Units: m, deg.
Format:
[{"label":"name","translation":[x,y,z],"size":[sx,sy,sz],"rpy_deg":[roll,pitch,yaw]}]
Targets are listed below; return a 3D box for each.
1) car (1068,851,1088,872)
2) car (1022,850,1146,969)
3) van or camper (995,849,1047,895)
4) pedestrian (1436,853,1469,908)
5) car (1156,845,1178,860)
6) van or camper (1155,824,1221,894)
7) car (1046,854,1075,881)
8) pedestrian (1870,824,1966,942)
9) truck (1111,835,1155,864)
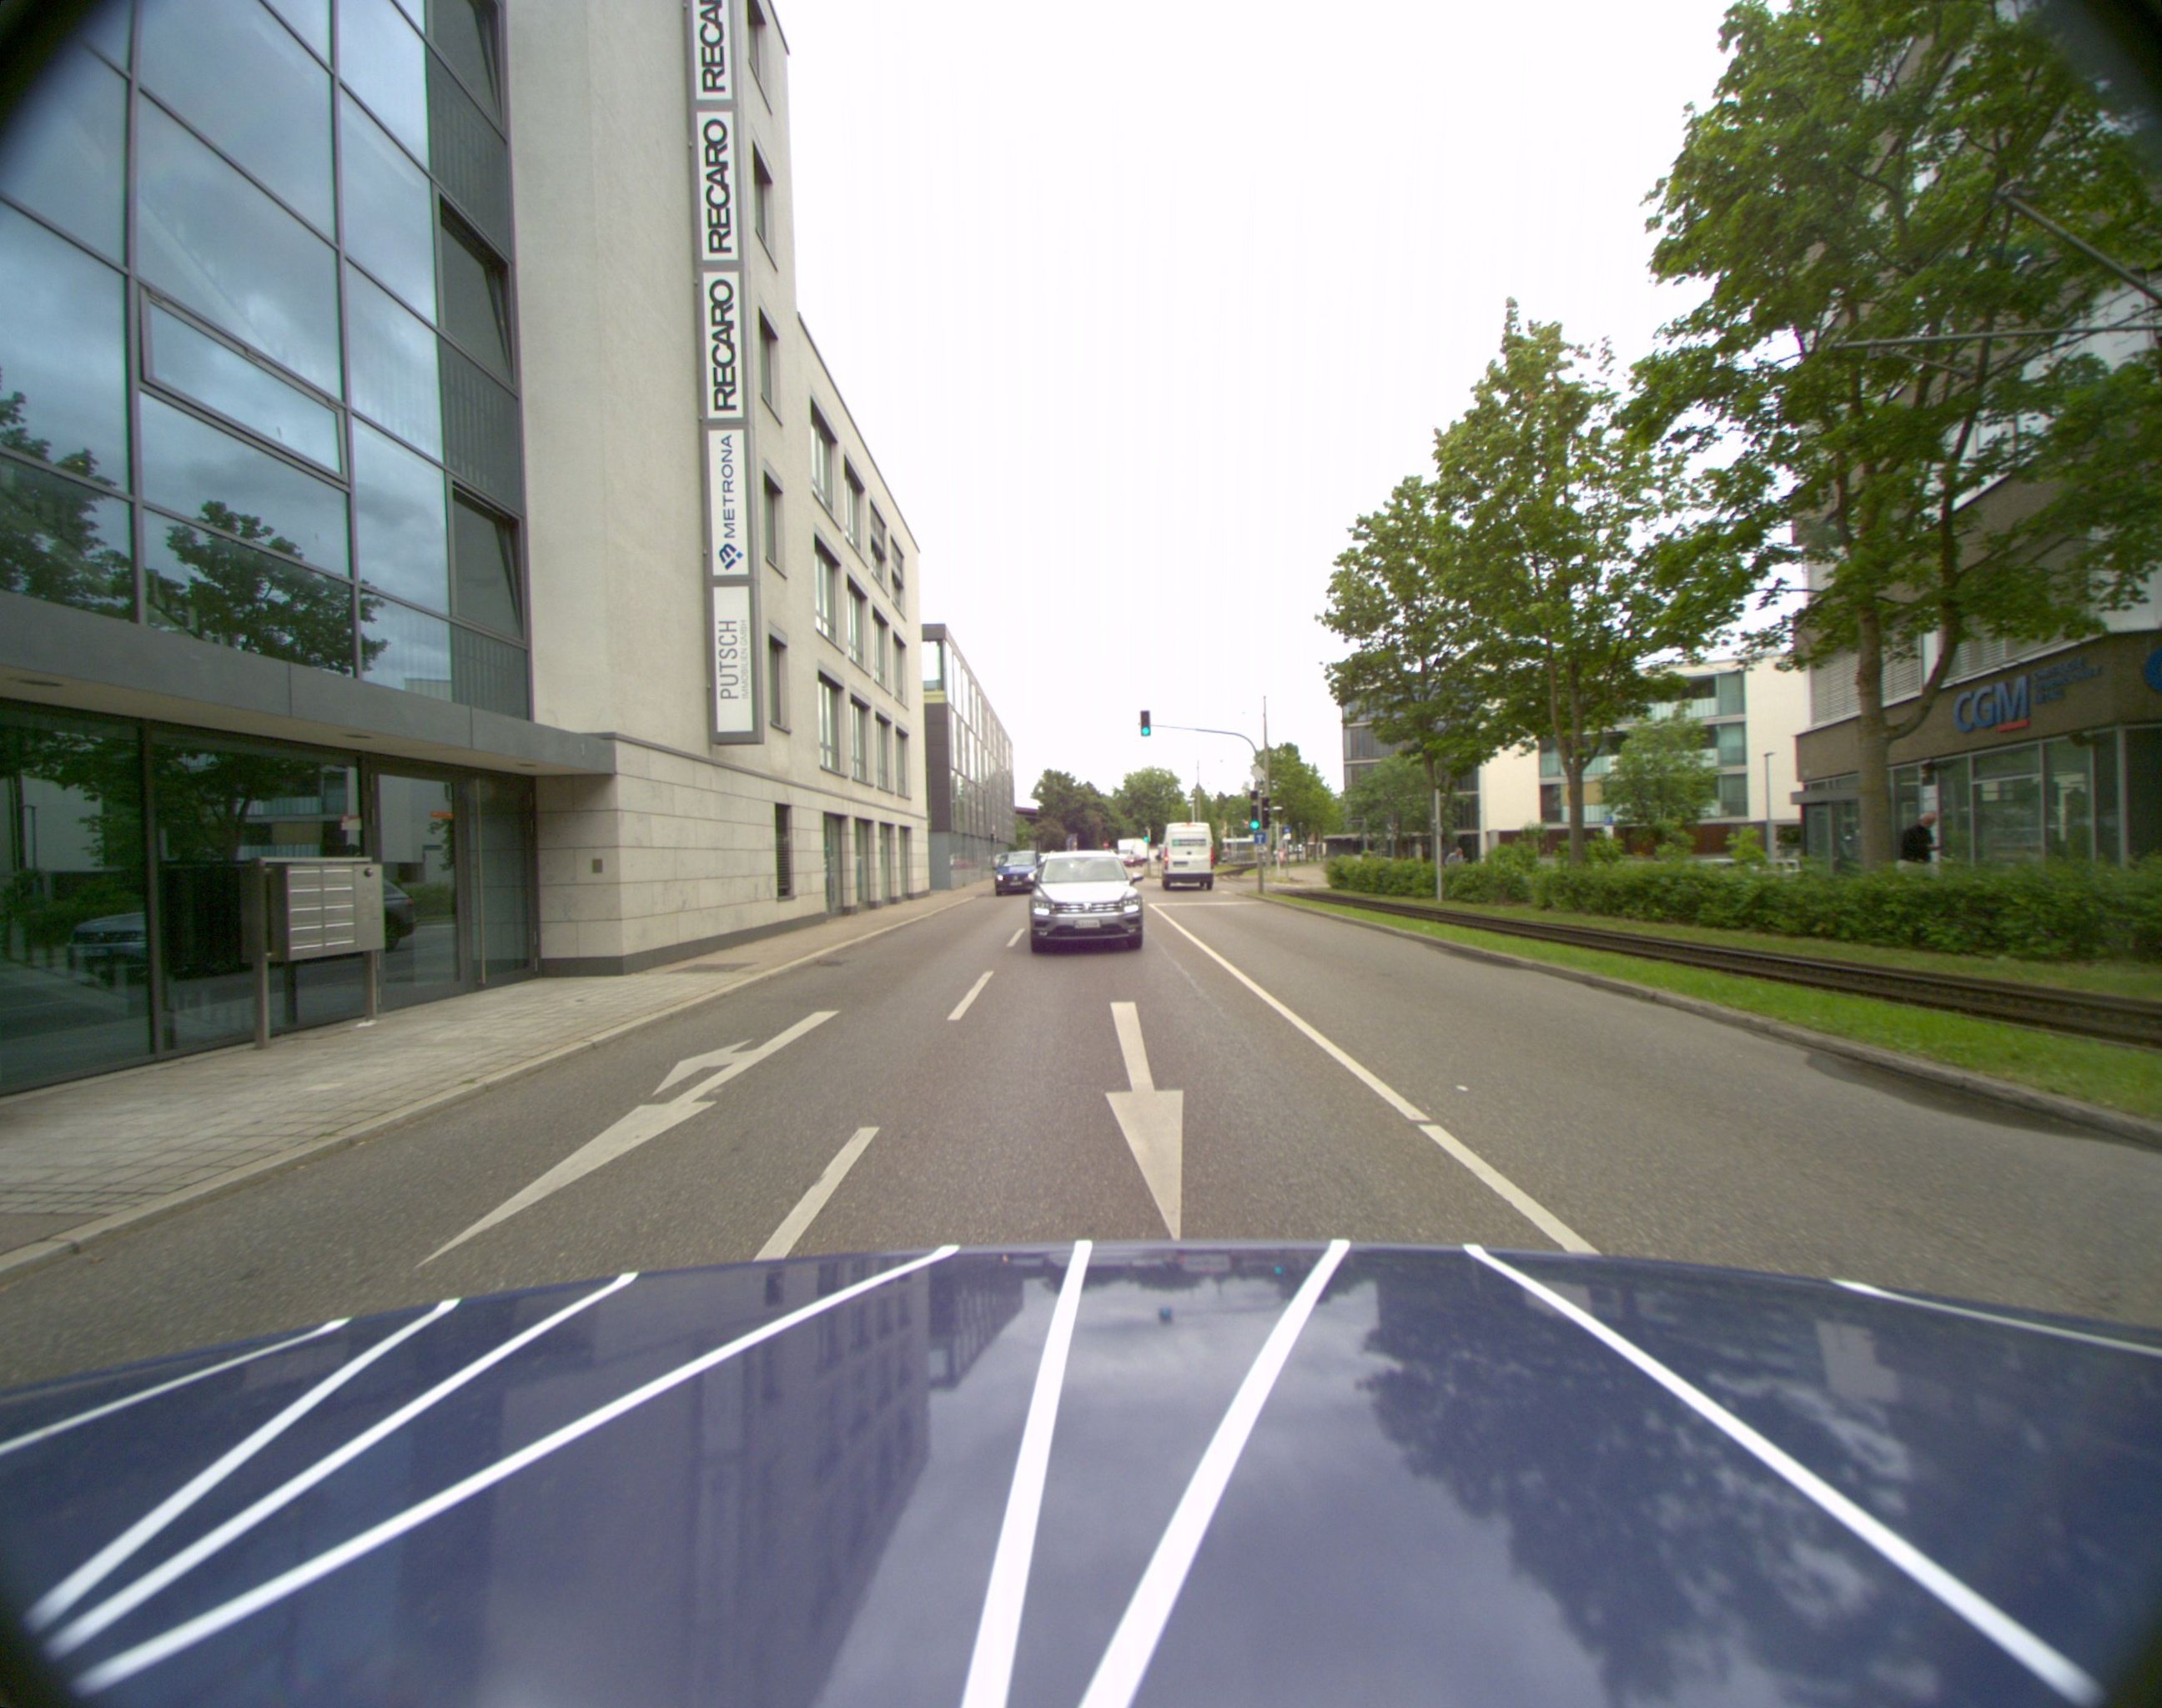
[{"label":"car","translation":[-0.289,0.754,79.438],"size":[1.998,2.002,3.999],"rpy_deg":[-2,1,1]},{"label":"car","translation":[0.056,0.816,13.509],"size":[1.798,1.716,4.458],"rpy_deg":[-2,0,0]},{"label":"van or camper","translation":[-2.630,0.740,34.242],"size":[1.864,1.900,5.032],"rpy_deg":[-2,0,0]},{"label":"pedestrian","translation":[12.568,0.876,25.707],"size":[0.680,1.795,0.731],"rpy_deg":[-2,1,-4]},{"label":"car","translation":[12.638,-0.217,111.622],"size":[1.995,2.002,4.006],"rpy_deg":[-2,1,24]},{"label":"van or camper","translation":[4.573,0.148,33.534],"size":[2.112,2.718,6.151],"rpy_deg":[-2,1,2]},{"label":"car","translation":[-1.500,1.004,57.593],"size":[1.998,1.805,3.999],"rpy_deg":[-2,1,1]},{"label":"pedestrian","translation":[13.954,0.466,12.690],"size":[0.776,1.883,0.731],"rpy_deg":[-2,1,-1]},{"label":"truck","translation":[6.935,-0.618,100.477],"size":[2.317,3.626,8.024],"rpy_deg":[-2,1,30]}]
